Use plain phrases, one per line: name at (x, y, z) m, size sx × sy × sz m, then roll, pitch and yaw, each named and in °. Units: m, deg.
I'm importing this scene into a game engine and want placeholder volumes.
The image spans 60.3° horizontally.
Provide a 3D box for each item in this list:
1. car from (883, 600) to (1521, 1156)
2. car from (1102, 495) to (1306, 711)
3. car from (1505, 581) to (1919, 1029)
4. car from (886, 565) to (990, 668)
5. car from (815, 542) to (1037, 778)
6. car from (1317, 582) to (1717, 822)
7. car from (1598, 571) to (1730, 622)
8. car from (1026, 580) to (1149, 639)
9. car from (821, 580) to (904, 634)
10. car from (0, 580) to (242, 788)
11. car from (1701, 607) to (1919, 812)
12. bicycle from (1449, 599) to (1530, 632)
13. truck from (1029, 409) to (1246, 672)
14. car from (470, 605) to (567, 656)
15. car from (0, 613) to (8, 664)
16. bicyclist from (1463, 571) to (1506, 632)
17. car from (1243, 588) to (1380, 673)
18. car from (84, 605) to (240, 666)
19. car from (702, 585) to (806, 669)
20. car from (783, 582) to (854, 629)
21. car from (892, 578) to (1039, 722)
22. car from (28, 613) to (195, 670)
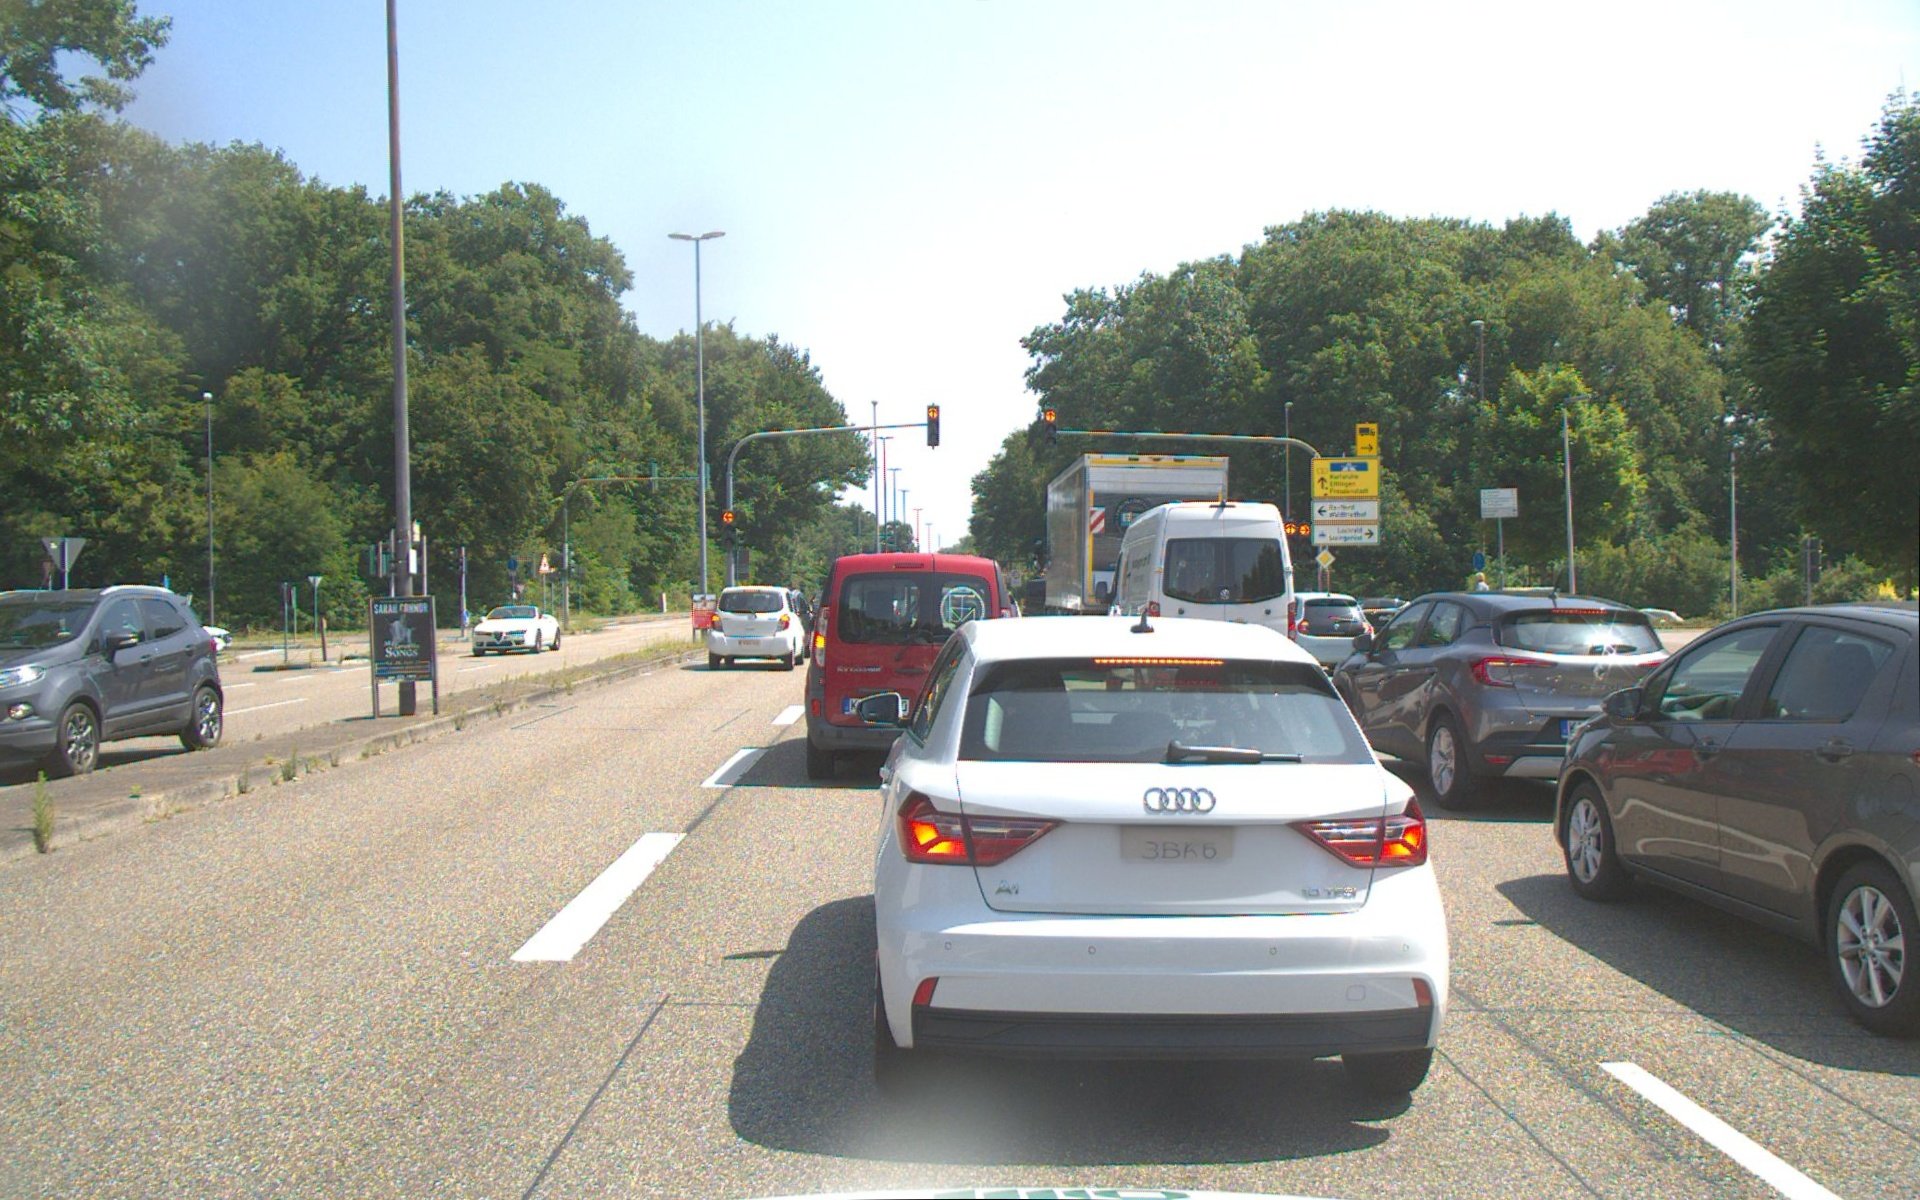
car at (0.551, 0.721, 6.361) m, size 1.677 × 1.410 × 4.090 m, roll 0°, pitch 0°, yaw -3°
car at (3.255, 0.023, 23.081) m, size 1.990 × 2.690 × 4.843 m, roll 0°, pitch 0°, yaw -2°
car at (4.017, 0.718, 7.280) m, size 1.678 × 1.504 × 4.090 m, roll 3°, pitch 0°, yaw -3°
car at (-0.449, 0.254, 28.905) m, size 1.677 × 1.660 × 4.090 m, roll 0°, pitch 0°, yaw -3°
car at (-0.344, 0.443, 14.598) m, size 1.677 × 1.779 × 4.090 m, roll 0°, pitch 0°, yaw -3°
car at (4.229, 0.680, 13.269) m, size 1.677 × 1.621 × 4.090 m, roll 0°, pitch 0°, yaw -3°
car at (25.214, -0.138, 59.307) m, size 3.909 × 1.719 × 1.877 m, roll -1°, pitch 0°, yaw -5°
car at (4.553, 0.352, 59.307) m, size 3.914 × 2.049 × 1.996 m, roll -1°, pitch 0°, yaw 31°
car at (-3.893, 0.269, 65.698) m, size 1.968 × 2.049 × 3.968 m, roll -1°, pitch 0°, yaw -25°
car at (-8.196, 0.700, 15.083) m, size 1.653 × 1.628 × 3.883 m, roll -3°, pitch 0°, yaw -3°
car at (7.548, 0.799, 12.921) m, size 1.604 × 1.395 × 4.145 m, roll 1°, pitch 1°, yaw -1°
bicycle at (12.877, 0.381, 40.282) m, size 1.795 × 0.779 × 0.597 m, roll -1°, pitch 0°, yaw 44°
truck at (3.319, -1.069, 34.451) m, size 3.026 × 4.511 × 11.577 m, roll 1°, pitch 0°, yaw -1°
car at (-12.559, 0.838, 47.309) m, size 1.683 × 1.284 × 4.300 m, roll -3°, pitch 0°, yaw -2°
car at (-34.469, 1.251, 55.165) m, size 4.294 × 1.711 × 1.805 m, roll 1°, pitch -1°, yaw -13°
bicyclist at (12.793, 0.033, 40.345) m, size 0.815 × 1.464 × 0.595 m, roll -1°, pitch 0°, yaw 43°
car at (6.880, 0.556, 32.762) m, size 1.677 × 1.573 × 4.090 m, roll 0°, pitch 0°, yaw -3°
car at (-27.005, 1.184, 56.097) m, size 4.291 × 1.710 × 1.807 m, roll -4°, pitch 0°, yaw -9°
car at (-3.918, 0.472, 32.043) m, size 1.677 × 1.519 × 4.090 m, roll 0°, pitch 0°, yaw -3°
car at (-6.466, 0.253, 75.185) m, size 1.968 × 2.049 × 3.968 m, roll -1°, pitch 0°, yaw -25°
car at (-0.016, 0.562, 21.120) m, size 1.677 × 1.660 × 4.090 m, roll 0°, pitch 0°, yaw -3°
car at (-26.744, 1.306, 52.282) m, size 4.290 × 1.711 × 1.807 m, roll 1°, pitch 0°, yaw -9°
